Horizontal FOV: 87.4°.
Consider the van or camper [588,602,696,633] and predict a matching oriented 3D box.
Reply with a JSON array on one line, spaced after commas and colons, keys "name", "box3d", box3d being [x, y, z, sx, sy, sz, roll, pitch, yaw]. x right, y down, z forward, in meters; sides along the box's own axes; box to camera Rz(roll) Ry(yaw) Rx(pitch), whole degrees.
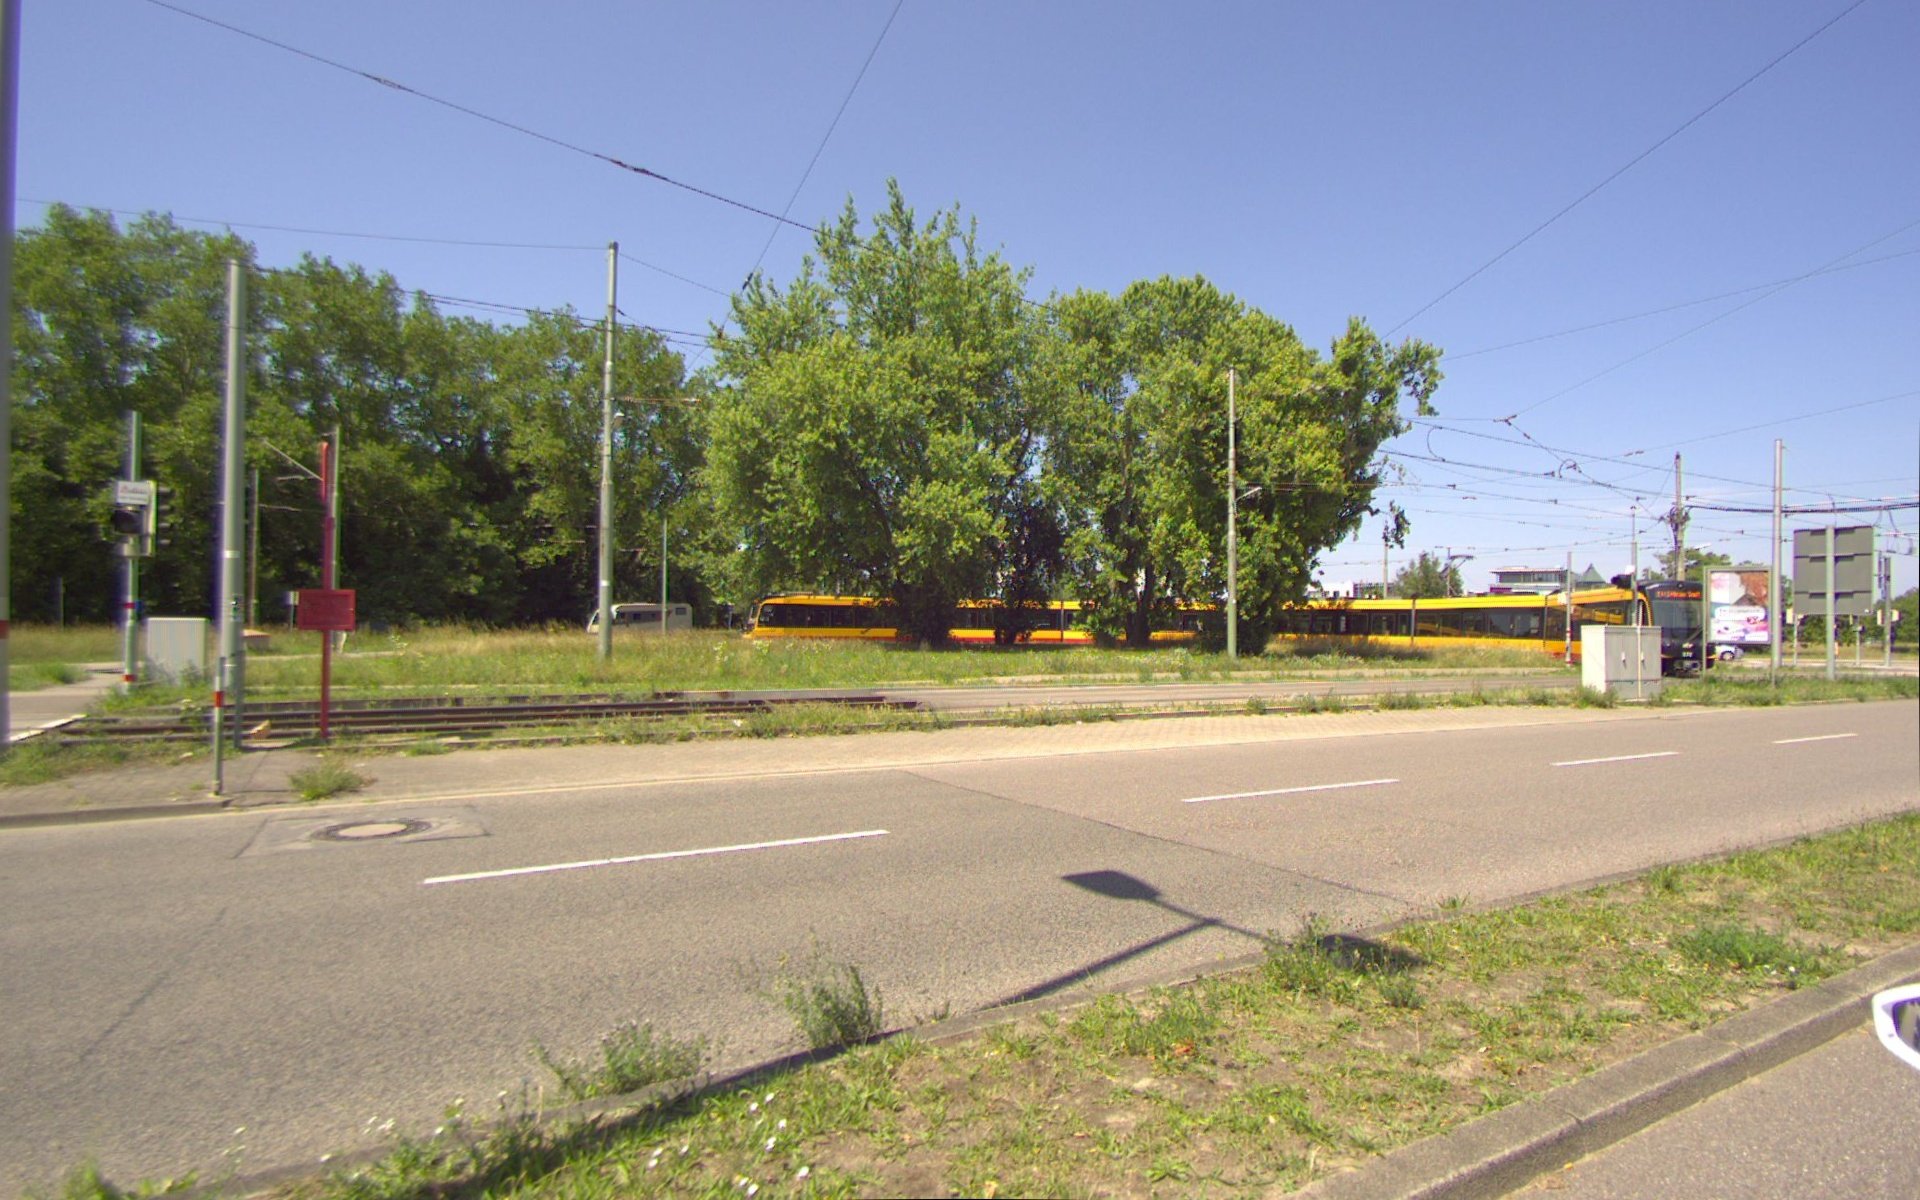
[{"name": "van or camper", "box3d": [-22.413, 1.227, 71.113, 1.971, 2.040, 7.320, 1, 0, 41]}]

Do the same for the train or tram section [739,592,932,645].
[{"name": "train or tram section", "box3d": [-8.528, 1.332, 69.924, 13.096, 3.512, 3.025, 1, 0, -27]}]

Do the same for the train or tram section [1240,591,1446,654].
[{"name": "train or tram section", "box3d": [23.846, 1.277, 63.679, 3.016, 3.512, 12.623, 1, 0, -35]}]

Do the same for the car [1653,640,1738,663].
[{"name": "car", "box3d": [48.196, 3.363, 65.927, 4.202, 1.311, 1.997, 0, 0, 28]}]

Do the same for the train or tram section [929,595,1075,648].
[{"name": "train or tram section", "box3d": [3.013, 1.545, 72.616, 10.046, 3.512, 3.039, 1, 0, -13]}]

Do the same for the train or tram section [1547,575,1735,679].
[{"name": "train or tram section", "box3d": [27.145, 0.974, 40.982, 2.986, 3.512, 13.292, 1, 0, 19]}]

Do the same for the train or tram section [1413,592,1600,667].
[{"name": "train or tram section", "box3d": [28.337, 1.379, 52.906, 2.991, 3.512, 10.207, 1, 0, -9]}]

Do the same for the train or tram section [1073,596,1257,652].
[{"name": "train or tram section", "box3d": [14.479, 1.636, 71.369, 12.491, 3.512, 3.048, 1, 0, 12]}]

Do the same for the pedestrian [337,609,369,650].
[{"name": "pedestrian", "box3d": [-24.182, 1.184, 40.021, 0.677, 1.595, 0.791, 1, 0, 13]}]
